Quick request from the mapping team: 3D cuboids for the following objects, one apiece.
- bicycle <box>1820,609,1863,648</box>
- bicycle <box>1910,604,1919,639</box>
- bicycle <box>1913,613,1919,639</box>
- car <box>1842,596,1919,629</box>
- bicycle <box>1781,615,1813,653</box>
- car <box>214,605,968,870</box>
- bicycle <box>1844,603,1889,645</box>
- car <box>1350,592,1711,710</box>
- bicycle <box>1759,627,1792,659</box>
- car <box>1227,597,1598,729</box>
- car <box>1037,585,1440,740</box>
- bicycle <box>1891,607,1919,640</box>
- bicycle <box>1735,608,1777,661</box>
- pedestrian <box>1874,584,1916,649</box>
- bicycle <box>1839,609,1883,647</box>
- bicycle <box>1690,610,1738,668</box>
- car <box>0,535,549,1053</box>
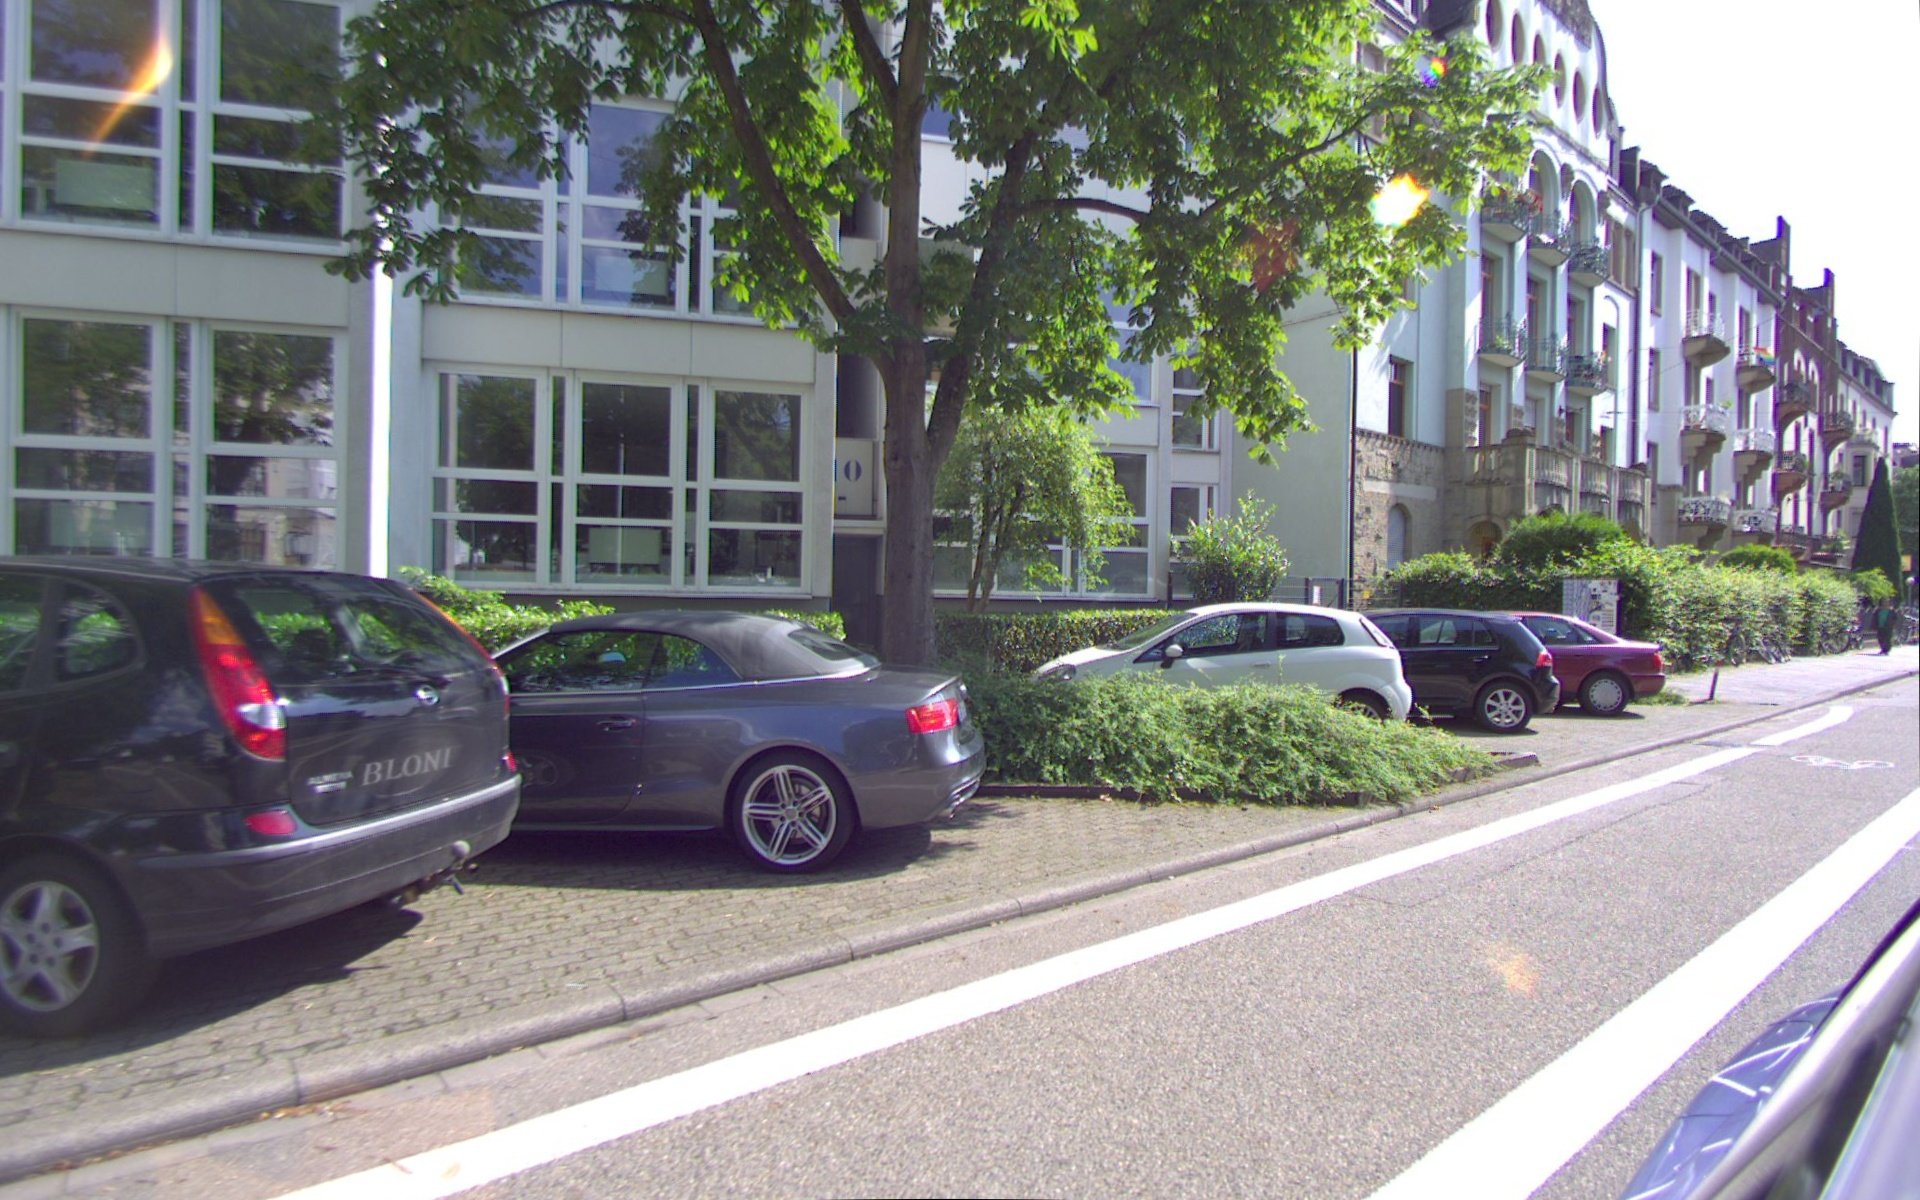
[{"bbox_3d":[24.802,0.795,28.461,1.839,1.001,0.613,0,3,-41],"label":"bicycle"},{"bbox_3d":[35.390,0.795,37.255,1.813,1.276,0.452,1,3,-43],"label":"bicycle"},{"bbox_3d":[38.627,1.041,40.386,3.014,0.972,0.600,1,4,-43],"label":"bicycle"},{"bbox_3d":[49.460,0.659,53.903,1.935,1.542,3.412,1,3,-37],"label":"car"},{"bbox_3d":[21.283,0.860,25.714,1.638,0.918,0.274,2,3,-40],"label":"bicycle"},{"bbox_3d":[-2.070,0.720,6.431,4.102,1.366,1.902,0,0,6],"label":"car"},{"bbox_3d":[29.031,0.749,32.397,2.472,1.246,0.742,0,1,-41],"label":"bicycle"},{"bbox_3d":[8.047,0.663,14.662,4.091,1.441,1.863,2,1,8],"label":"car"},{"bbox_3d":[19.514,1.013,24.197,1.531,0.685,0.280,0,4,-40],"label":"bicycle"},{"bbox_3d":[5.525,0.726,12.822,3.933,1.467,1.695,1,0,8],"label":"car"},{"bbox_3d":[2.810,0.603,10.887,3.929,1.479,1.533,1,0,5],"label":"car"},{"bbox_3d":[33.998,0.836,36.395,1.810,1.136,0.452,1,3,-39],"label":"bicycle"},{"bbox_3d":[18.090,0.770,22.977,1.975,1.122,0.280,0,4,-40],"label":"bicycle"},{"bbox_3d":[27.958,0.485,30.265,0.788,1.884,0.571,5,3,43],"label":"pedestrian"},{"bbox_3d":[26.647,0.817,29.928,2.321,1.008,0.612,0,4,-41],"label":"bicycle"},{"bbox_3d":[15.460,0.778,20.734,1.975,1.122,0.280,0,4,-40],"label":"bicycle"},{"bbox_3d":[-4.114,0.601,4.375,3.934,1.595,1.900,0,-1,9],"label":"car"}]
